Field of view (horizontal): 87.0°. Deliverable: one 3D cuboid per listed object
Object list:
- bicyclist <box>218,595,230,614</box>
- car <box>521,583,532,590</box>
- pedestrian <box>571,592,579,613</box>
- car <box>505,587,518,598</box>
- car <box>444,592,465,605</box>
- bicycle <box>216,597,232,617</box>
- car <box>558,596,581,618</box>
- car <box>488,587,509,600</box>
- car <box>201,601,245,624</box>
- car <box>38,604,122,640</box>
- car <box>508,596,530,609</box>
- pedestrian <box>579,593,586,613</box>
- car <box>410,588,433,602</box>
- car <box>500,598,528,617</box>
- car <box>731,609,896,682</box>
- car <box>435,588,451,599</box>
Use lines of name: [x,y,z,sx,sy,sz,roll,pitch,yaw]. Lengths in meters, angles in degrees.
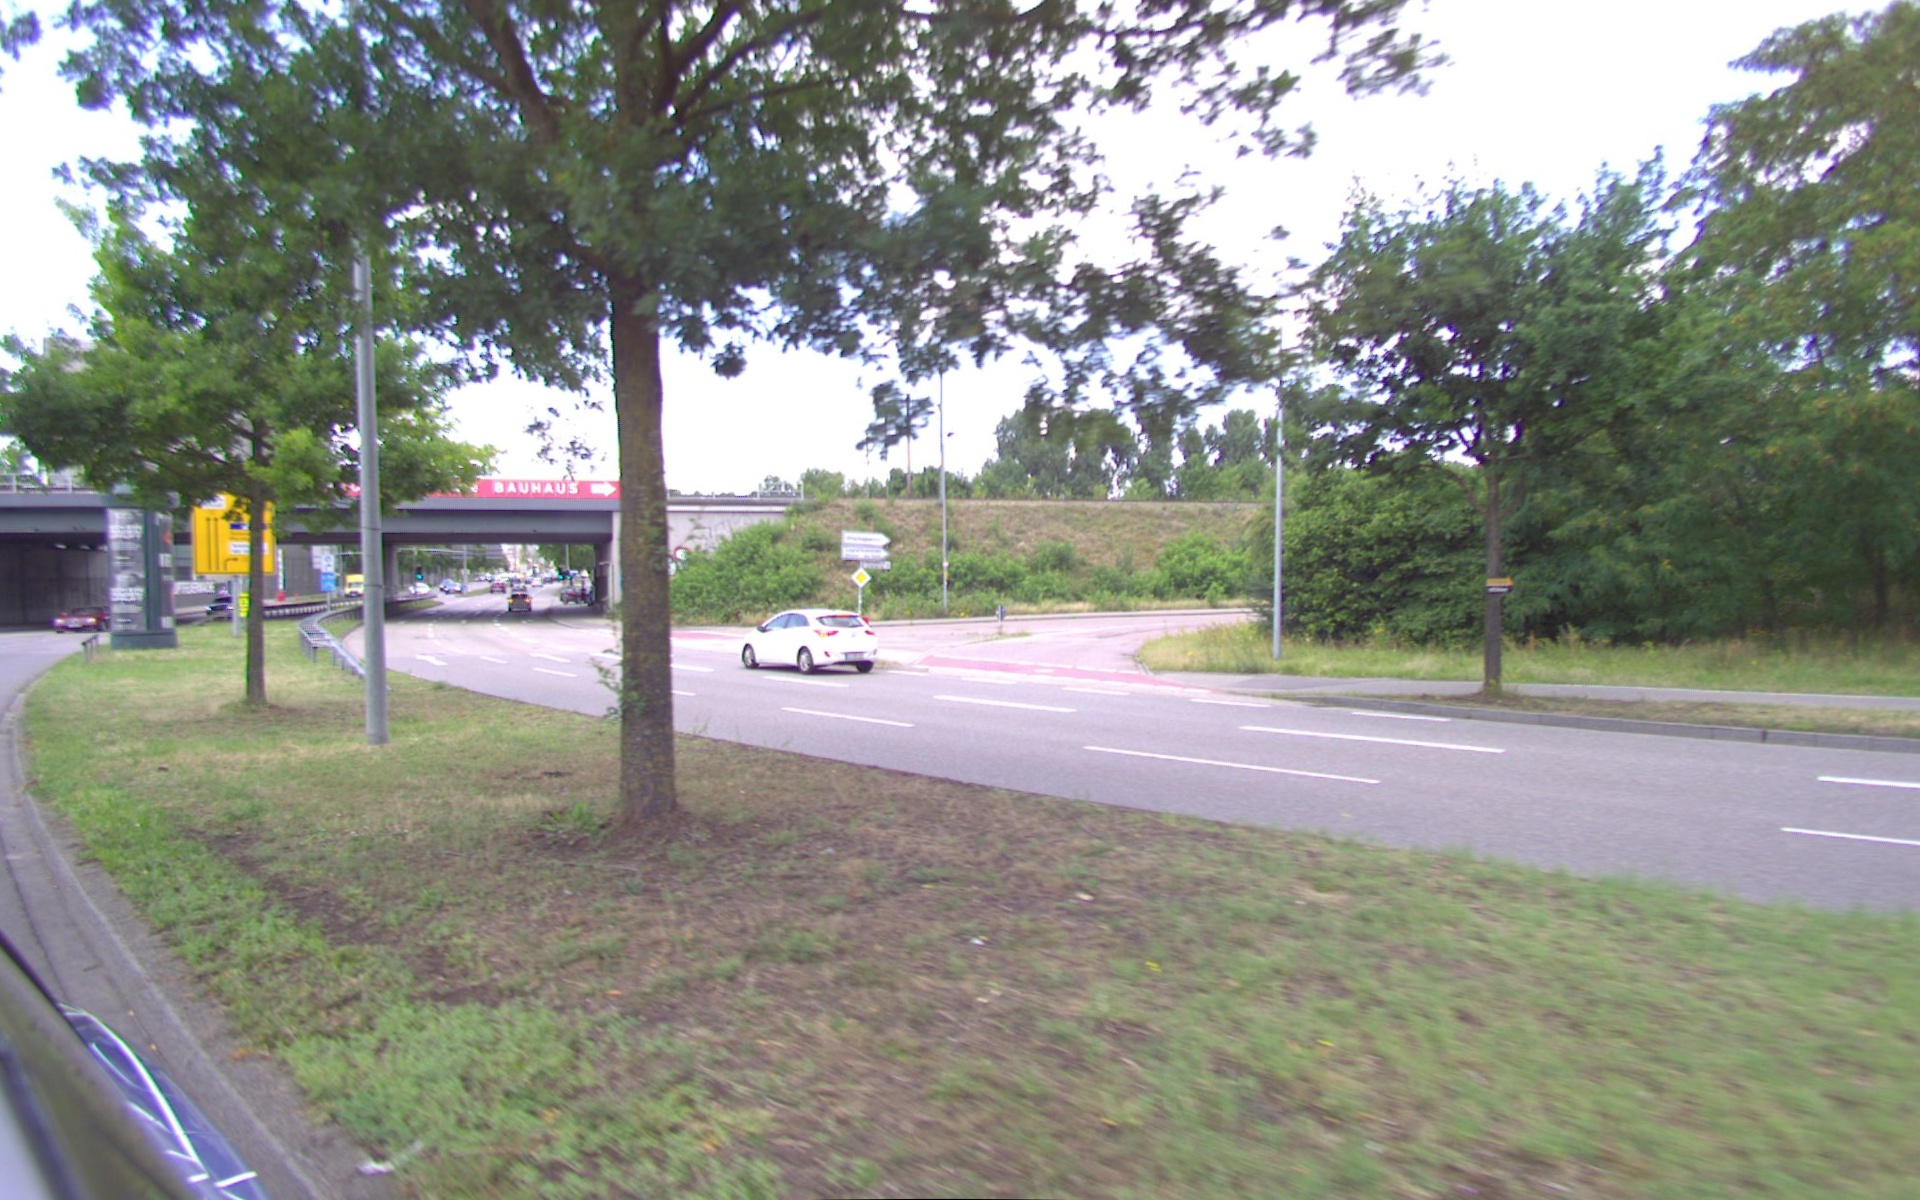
bicyclist: [-70.291,0.409,96.653,0.705,1.782,0.992,0,1,-24]
car: [-89.634,-2.783,209.237,1.946,1.399,4.796,0,1,-21]
pedestrian: [-32.334,0.214,85.078,0.582,1.693,0.558,-1,1,-23]
car: [-77.299,-1.298,174.423,1.965,1.772,4.733,-1,1,-23]
car: [-65.804,-0.212,131.826,1.965,1.425,4.848,-2,2,-21]
bicycle: [-70.319,0.641,96.710,0.709,1.787,2.542,0,1,-24]
car: [-38.026,0.678,98.409,1.965,2.029,4.351,-1,1,-22]
car: [-62.642,-0.867,137.462,1.966,1.687,4.336,-1,1,-15]
car: [-53.987,0.892,74.220,1.685,1.507,3.662,0,1,-21]
car: [-42.221,1.047,48.659,1.965,1.569,4.296,4,-3,-27]
car: [-54.910,0.303,126.144,1.921,1.384,4.012,-2,2,-16]
pedestrian: [-31.878,0.232,85.451,0.546,1.637,0.588,-1,1,-20]
car: [-66.575,-0.622,125.178,1.889,1.425,4.310,-6,3,-21]
car: [-35.628,0.587,80.779,1.728,1.522,4.013,-1,0,-29]
car: [-3.608,1.027,24.282,1.968,1.544,4.340,2,-1,-39]
car: [-76.376,-0.985,149.614,1.753,1.507,3.610,0,1,-21]
